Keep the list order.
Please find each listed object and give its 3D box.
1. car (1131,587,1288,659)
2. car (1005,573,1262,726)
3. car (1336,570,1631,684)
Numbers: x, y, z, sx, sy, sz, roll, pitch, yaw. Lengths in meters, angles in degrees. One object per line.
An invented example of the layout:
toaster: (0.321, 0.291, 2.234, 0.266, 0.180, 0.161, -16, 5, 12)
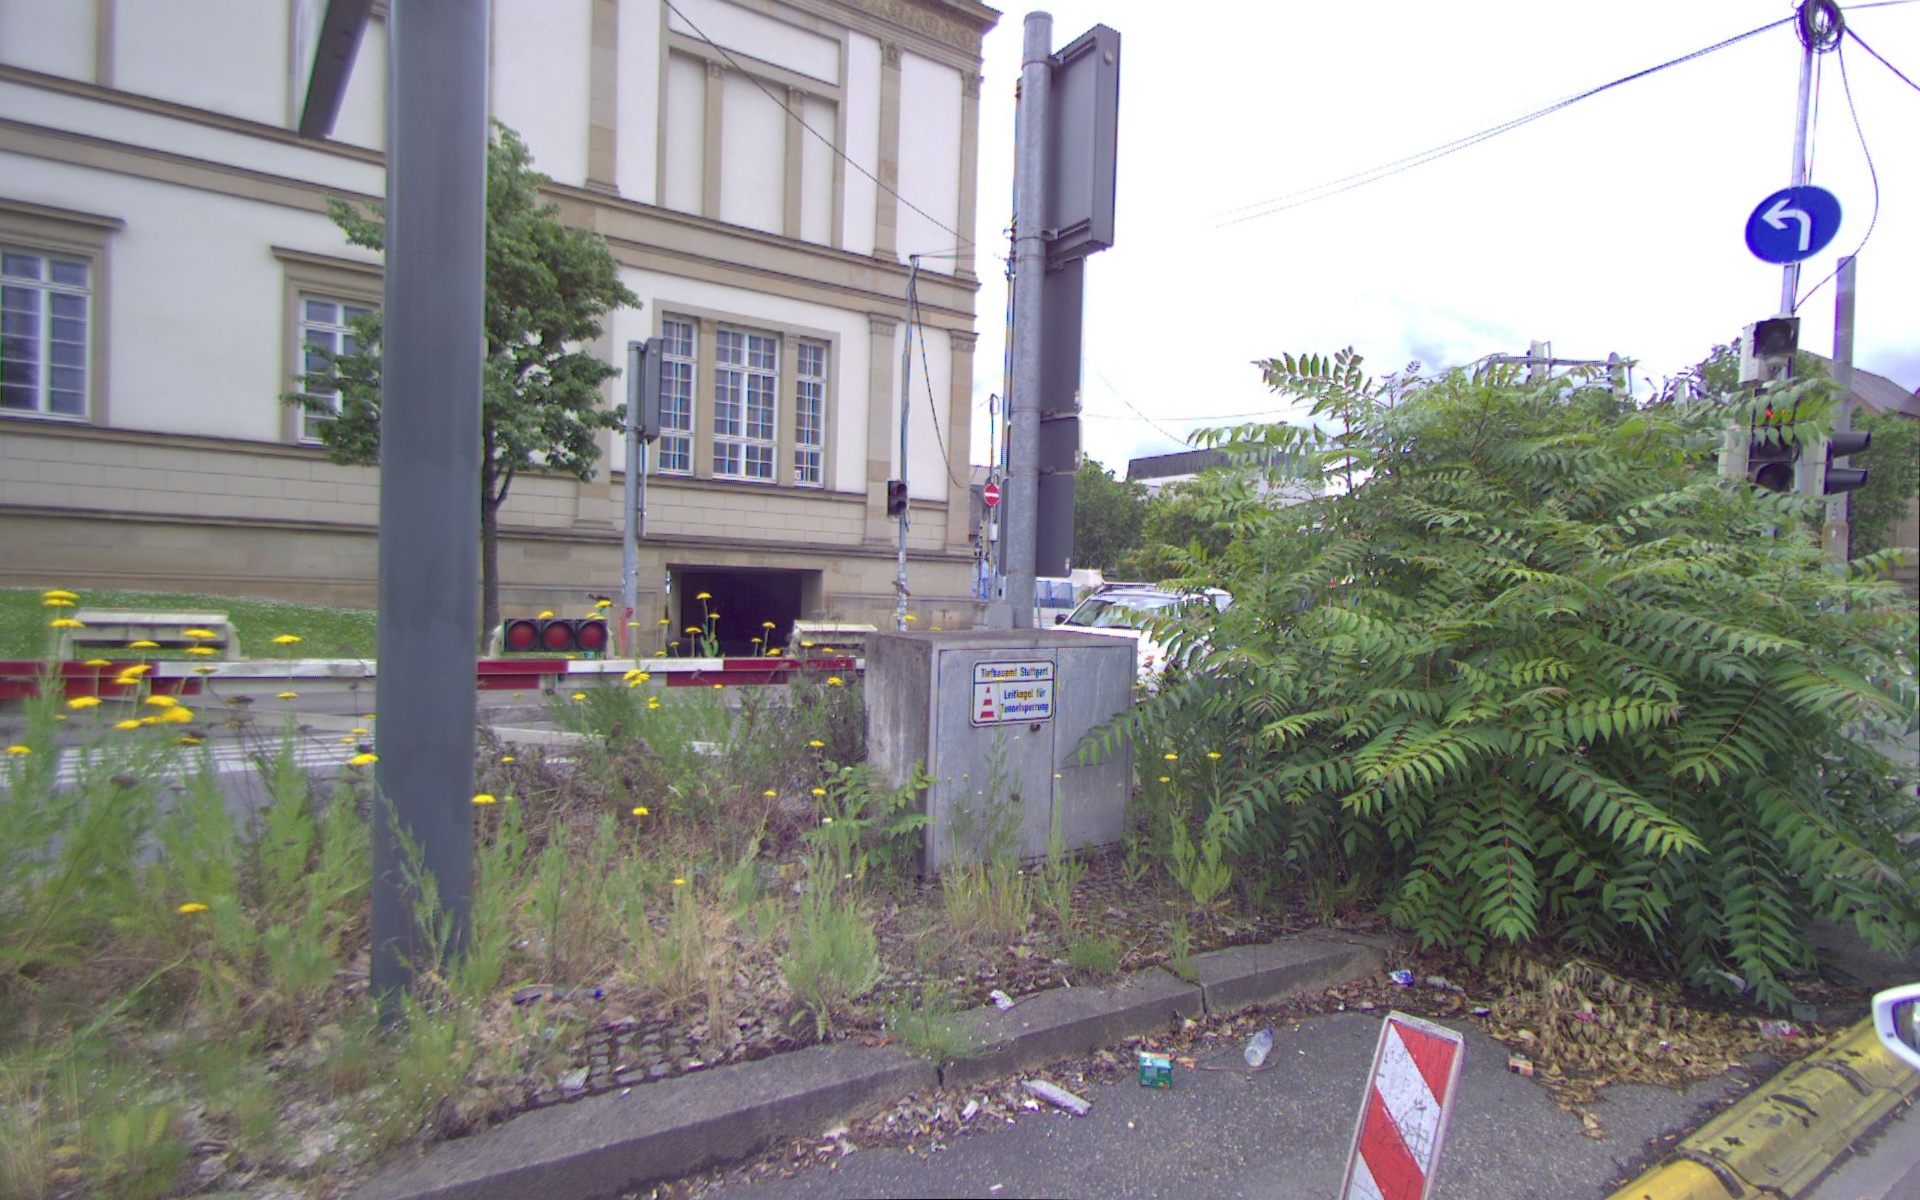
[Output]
car: (7.150, 0.624, 29.151, 1.812, 1.907, 4.238, 2, 0, -35)
car: (2.415, 0.533, 13.053, 1.872, 1.647, 4.097, 1, 0, 32)
car: (12.043, 0.544, 23.590, 2.280, 2.336, 5.723, 2, 0, -34)
